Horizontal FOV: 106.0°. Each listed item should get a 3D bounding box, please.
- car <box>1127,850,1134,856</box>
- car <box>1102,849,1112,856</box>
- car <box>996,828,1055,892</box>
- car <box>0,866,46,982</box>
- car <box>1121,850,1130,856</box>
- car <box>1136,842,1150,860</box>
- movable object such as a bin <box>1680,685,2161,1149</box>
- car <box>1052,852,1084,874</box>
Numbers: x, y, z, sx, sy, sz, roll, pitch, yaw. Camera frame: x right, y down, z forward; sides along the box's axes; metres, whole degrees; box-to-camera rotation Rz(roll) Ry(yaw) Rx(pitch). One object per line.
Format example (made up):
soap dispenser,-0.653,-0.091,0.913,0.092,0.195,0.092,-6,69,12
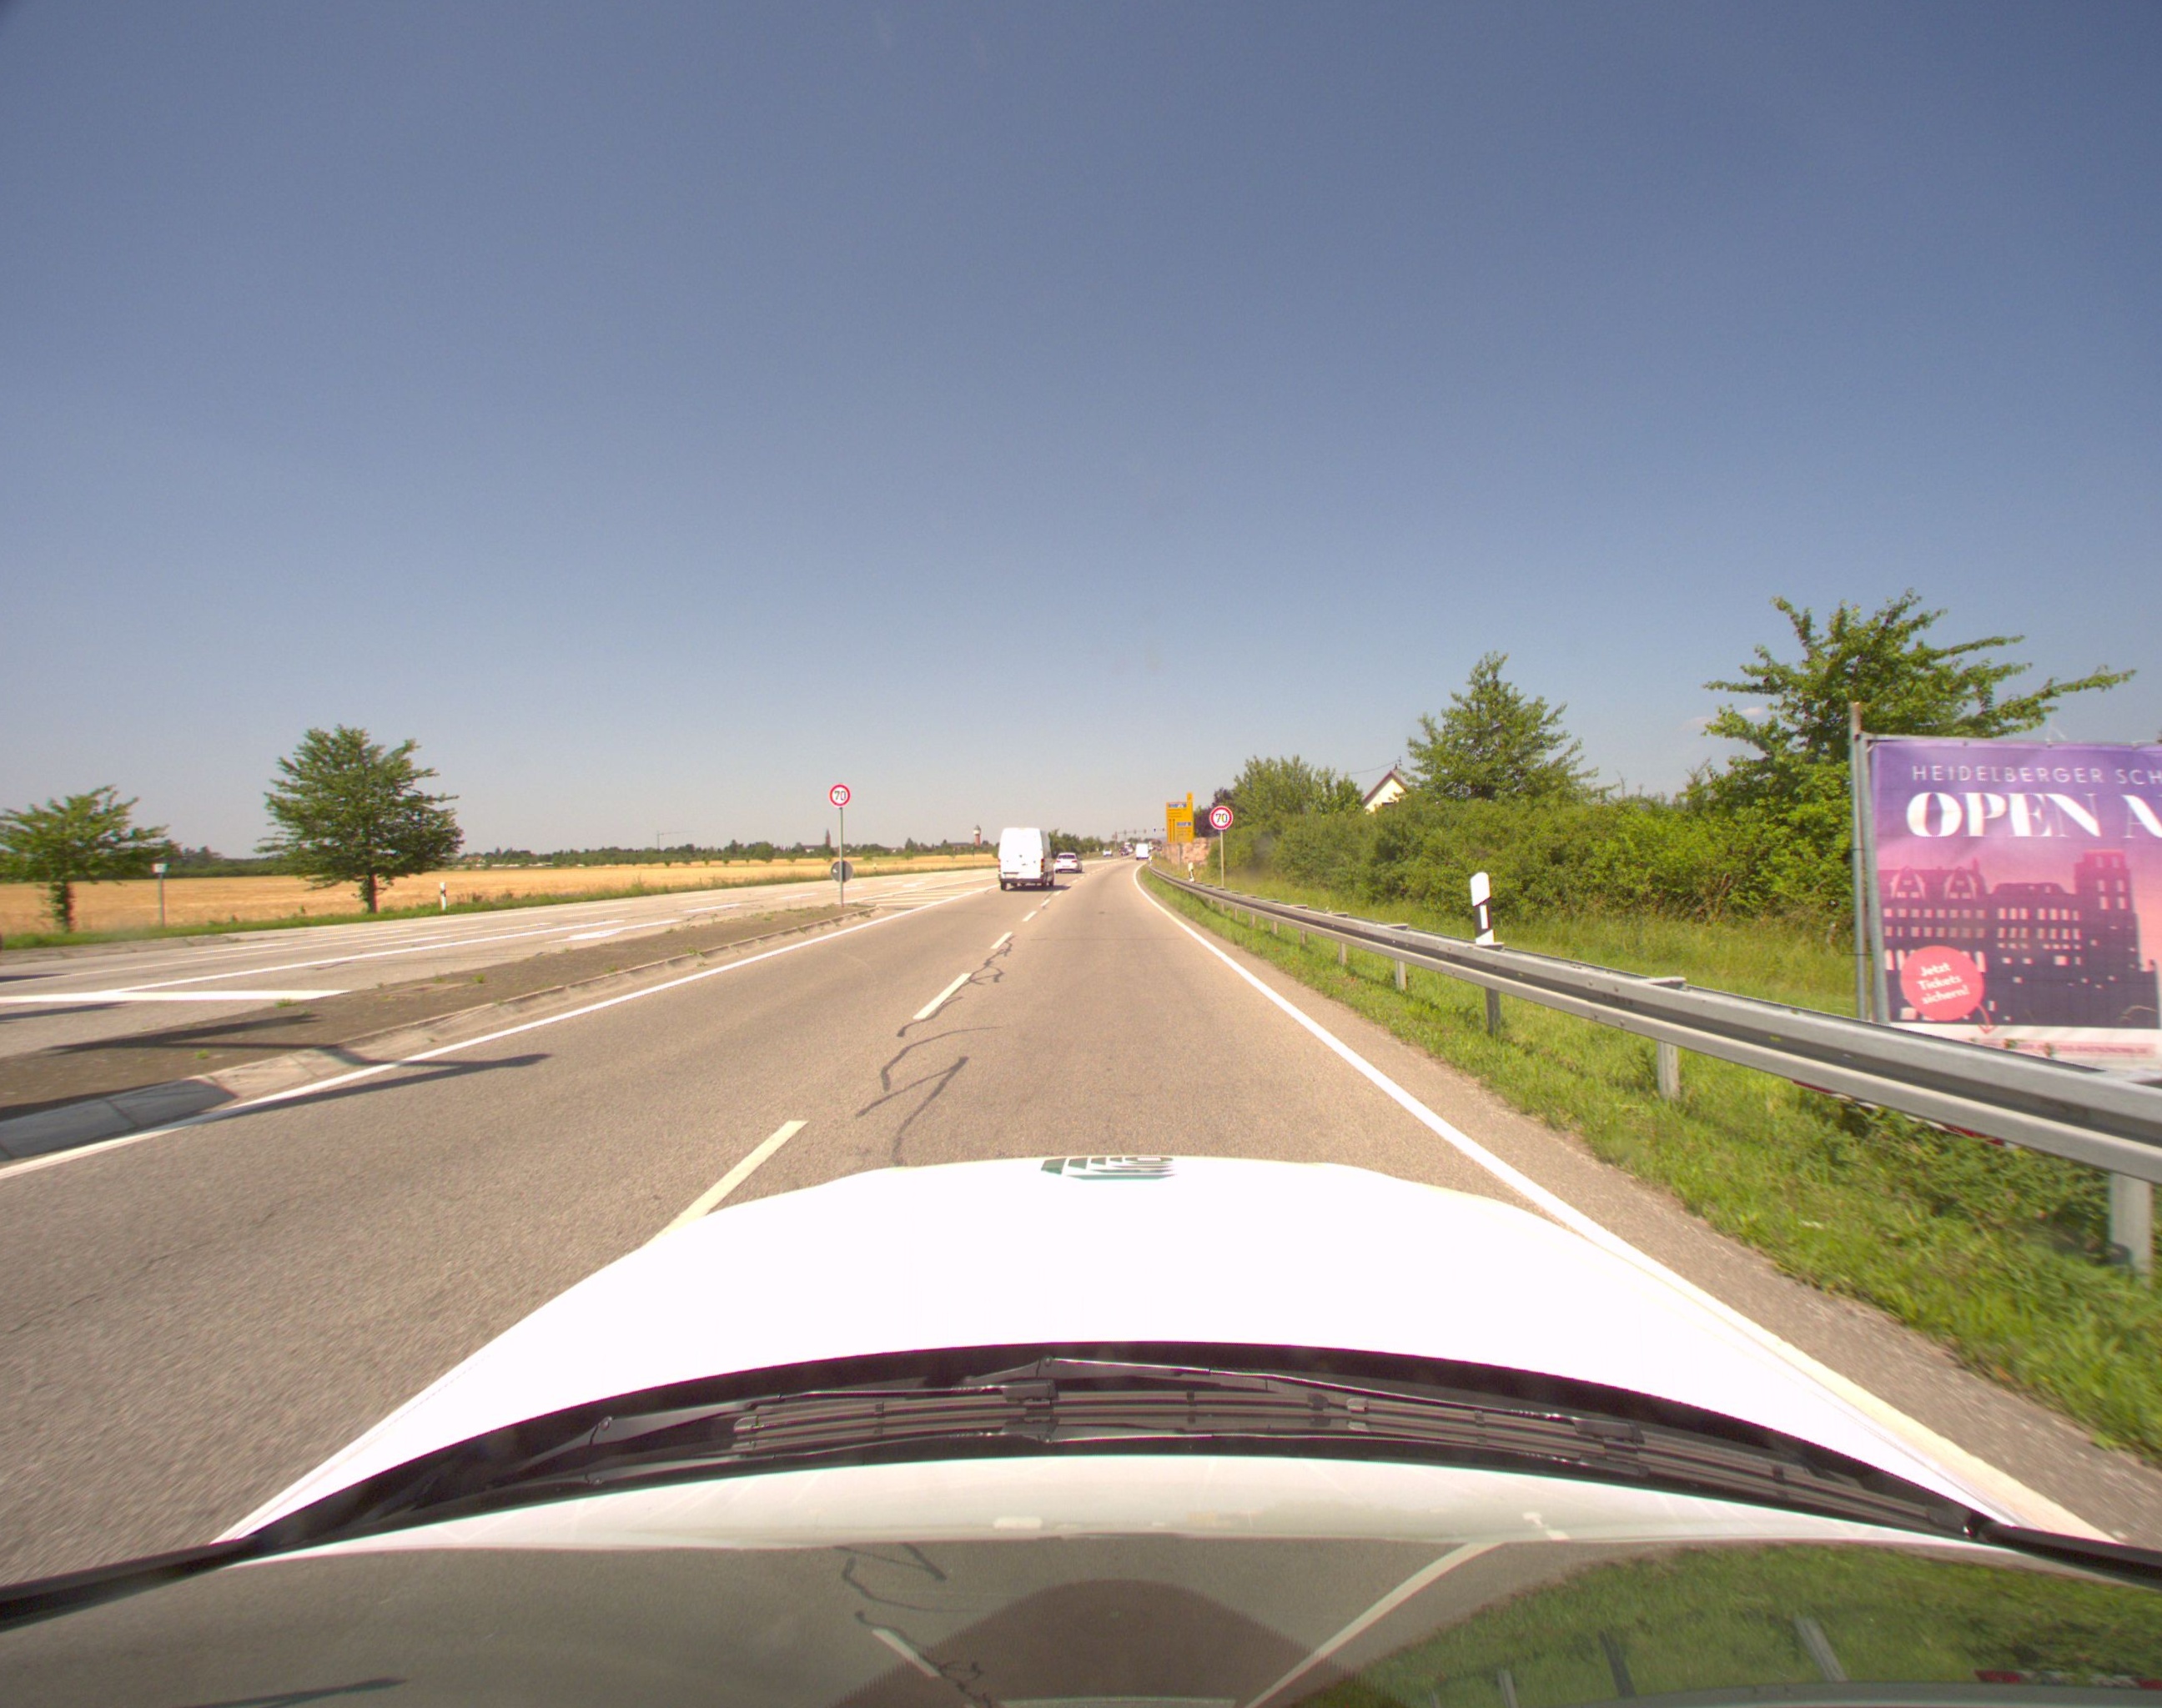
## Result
car,13.409,-0.269,221.471,1.740,1.442,4.089,1,-1,6
car,5.901,-0.282,184.526,1.740,1.442,4.089,-1,0,6
car,-2.382,0.242,36.374,2.031,2.620,5.743,-1,0,2
car,-15.876,0.992,9.610,1.825,1.600,4.303,-2,0,-1
car,10.220,-0.251,187.558,1.740,1.442,4.089,-1,0,6
car,9.675,-0.370,126.855,1.983,2.695,4.978,0,-1,7
movable object such as a bin,5.998,0.334,4.793,4.082,2.331,1.277,1,-1,-2
car,-0.915,0.628,60.310,1.790,1.508,4.204,-1,1,7
